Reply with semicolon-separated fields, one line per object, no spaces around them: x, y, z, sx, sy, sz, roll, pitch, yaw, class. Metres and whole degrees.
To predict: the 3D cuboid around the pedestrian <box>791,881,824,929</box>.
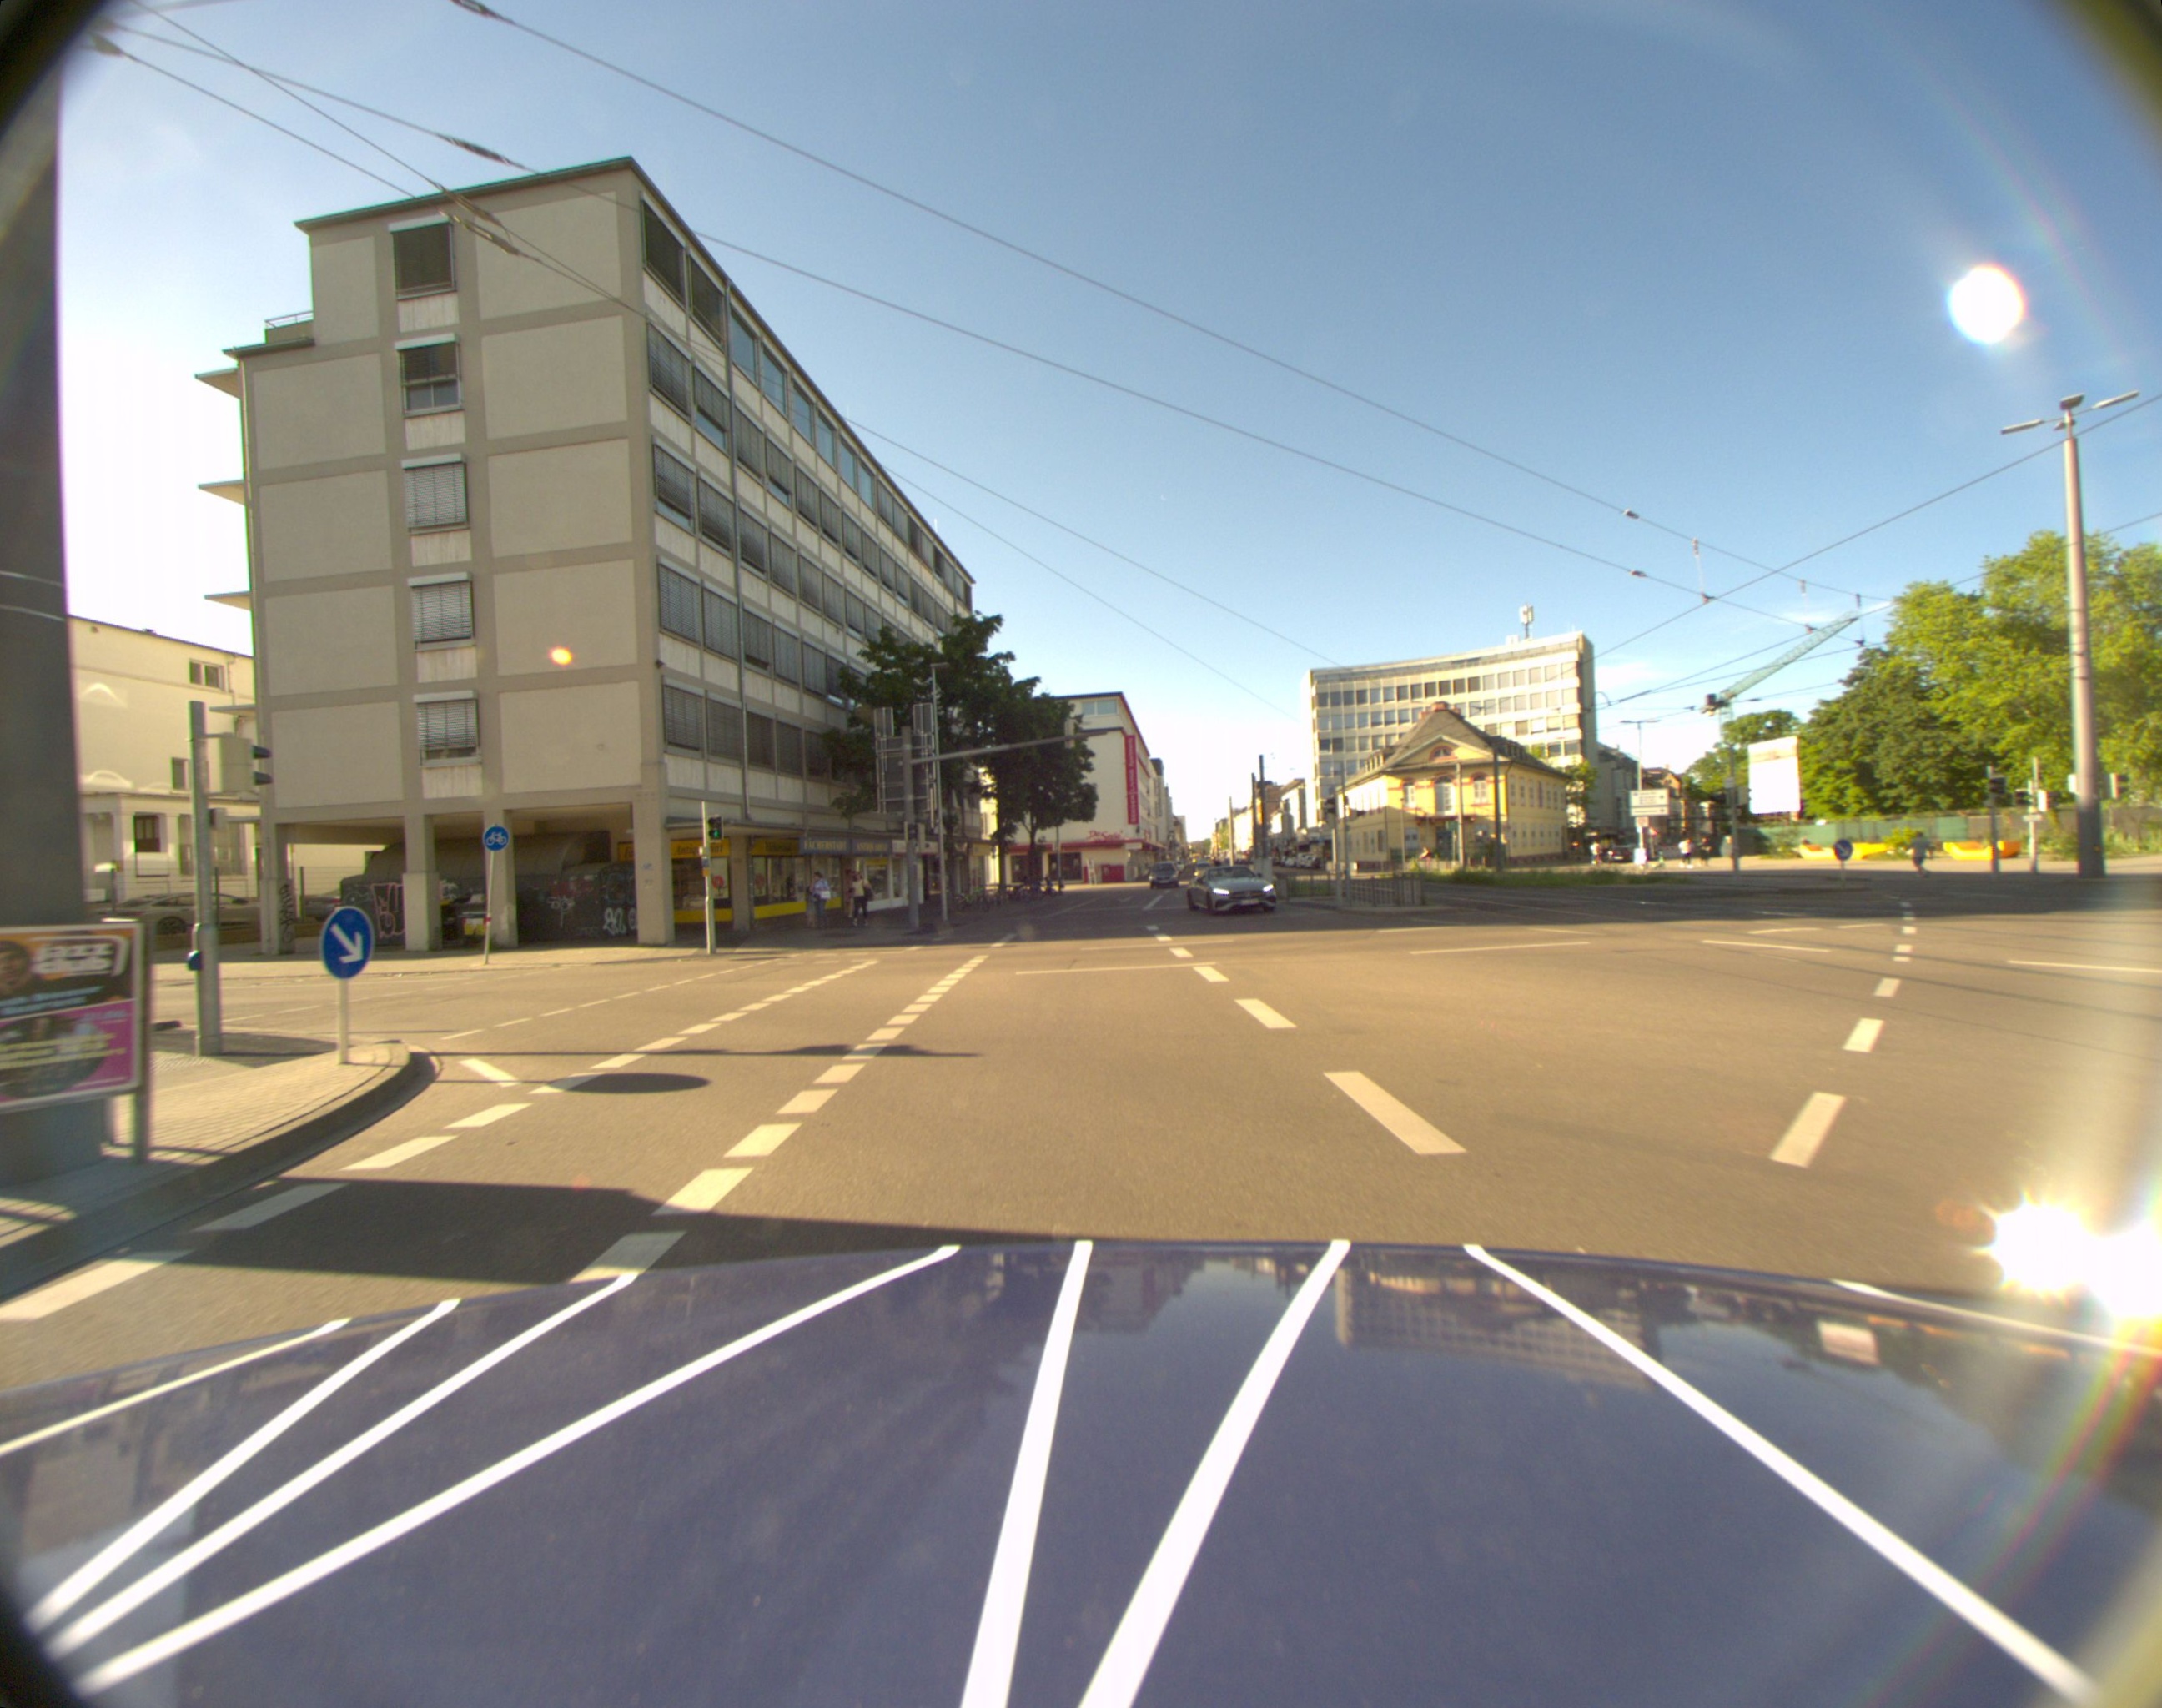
-8.467;1.587;23.556;0.646;1.414;0.621;-3;0;12;pedestrian

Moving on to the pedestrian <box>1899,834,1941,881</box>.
31.147;0.128;28.209;0.626;1.678;0.706;-3;-2;-2;pedestrian

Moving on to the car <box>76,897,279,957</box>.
-30.139;2.386;25.574;1.800;1.549;4.027;-3;0;5;car

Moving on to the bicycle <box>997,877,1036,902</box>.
-3.124;1.733;37.016;1.813;1.145;0.435;-2;1;7;bicycle

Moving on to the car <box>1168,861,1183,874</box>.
12.911;1.872;104.031;1.782;1.653;4.166;-1;0;9;car

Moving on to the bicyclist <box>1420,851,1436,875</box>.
23.453;0.603;51.401;0.591;1.640;0.804;-4;2;-44;bicyclist

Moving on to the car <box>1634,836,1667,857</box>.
51.871;-0.680;69.153;3.763;1.660;1.798;-3;0;-44;car

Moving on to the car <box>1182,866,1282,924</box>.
4.441;1.145;23.148;1.869;1.430;4.773;-3;0;-2;car

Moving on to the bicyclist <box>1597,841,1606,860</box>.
47.397;-0.336;69.197;0.521;1.663;0.772;-3;1;42;bicyclist

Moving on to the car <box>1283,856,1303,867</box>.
31.054;1.065;111.479;1.930;1.443;4.295;-4;0;5;car

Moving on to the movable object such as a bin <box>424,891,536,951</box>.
-16.550;1.828;20.980;1.913;1.461;1.453;-2;1;11;movable object such as a bin

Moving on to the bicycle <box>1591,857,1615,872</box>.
36.360;0.708;52.969;0.651;1.007;1.887;-3;0;12;bicycle

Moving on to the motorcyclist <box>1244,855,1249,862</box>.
34.960;0.901;160.479;0.654;1.549;0.884;-3;0;0;motorcyclist

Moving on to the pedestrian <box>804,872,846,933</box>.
-7.613;1.419;22.643;0.879;1.711;0.845;-3;0;0;pedestrian

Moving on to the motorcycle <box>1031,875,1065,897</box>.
-1.863;1.790;42.999;1.790;1.123;0.504;-3;0;11;motorcycle

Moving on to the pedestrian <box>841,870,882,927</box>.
-6.952;1.402;24.079;0.844;1.697;0.880;-3;0;10;pedestrian

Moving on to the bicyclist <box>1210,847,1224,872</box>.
8.606;0.351;48.141;0.683;1.514;0.635;-3;0;0;bicyclist

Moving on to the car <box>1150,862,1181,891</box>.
5.385;1.380;48.091;1.736;1.653;3.964;-1;0;9;car

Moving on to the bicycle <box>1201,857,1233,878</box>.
8.625;0.867;48.148;1.824;1.205;0.642;-3;0;0;bicycle

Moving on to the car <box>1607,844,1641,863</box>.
43.983;-0.047;61.492;1.646;1.339;3.766;-3;0;45;car

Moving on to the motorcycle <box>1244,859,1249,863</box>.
35.011;1.514;160.473;0.601;0.921;2.156;-3;0;0;motorcycle

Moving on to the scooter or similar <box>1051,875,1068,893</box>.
-1.308;1.804;45.428;0.965;1.037;0.160;-2;0;13;scooter or similar

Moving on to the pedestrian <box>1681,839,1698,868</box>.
38.116;-0.047;47.590;0.594;1.806;0.706;-3;0;21;pedestrian

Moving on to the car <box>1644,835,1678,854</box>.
55.478;-0.893;72.641;3.763;1.660;1.798;-3;0;-41;car

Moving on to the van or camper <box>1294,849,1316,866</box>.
29.020;0.431;98.397;1.958;1.961;4.800;-4;0;8;van or camper

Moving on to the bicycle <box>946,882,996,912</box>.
-4.361;1.711;30.098;1.893;1.150;0.481;-1;1;11;bicycle

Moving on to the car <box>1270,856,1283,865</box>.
34.752;1.129;134.889;1.785;1.408;3.599;-3;0;7;car

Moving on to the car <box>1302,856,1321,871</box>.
28.123;1.090;92.900;1.780;1.611;4.179;-4;0;11;car

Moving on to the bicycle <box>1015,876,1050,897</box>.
-2.610;1.748;40.863;1.855;1.050;0.399;-1;0;0;bicycle

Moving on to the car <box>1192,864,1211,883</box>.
11.727;1.851;73.863;1.782;1.653;3.964;-1;0;9;car

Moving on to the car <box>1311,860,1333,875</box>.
27.640;1.534;87.098;1.780;1.430;3.964;-4;0;9;car

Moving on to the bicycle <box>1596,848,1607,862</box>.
47.368;0.064;69.141;0.530;1.207;1.888;-3;0;41;bicycle

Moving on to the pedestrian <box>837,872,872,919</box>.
-8.174;1.483;27.440;0.844;1.593;0.880;-3;0;8;pedestrian

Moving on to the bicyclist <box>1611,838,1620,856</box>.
51.509;-0.711;73.259;0.772;1.663;0.521;-4;1;-42;bicyclist

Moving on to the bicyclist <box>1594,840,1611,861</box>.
36.333;-0.262;52.972;0.665;1.445;0.731;-3;0;10;bicyclist

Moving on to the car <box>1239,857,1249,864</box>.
35.743;1.447;166.469;1.780;1.500;4.672;-2;0;7;car

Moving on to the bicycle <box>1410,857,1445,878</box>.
23.446;0.922;51.428;0.576;1.283;2.021;-4;0;-44;bicycle

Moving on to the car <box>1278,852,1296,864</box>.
31.469;0.583;116.389;1.929;1.632;4.284;-4;0;7;car

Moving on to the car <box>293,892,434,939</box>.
-29.742;2.511;31.679;1.785;1.551;4.026;-3;0;5;car

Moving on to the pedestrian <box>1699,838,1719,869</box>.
39.056;-0.039;47.267;0.705;1.840;0.741;-3;0;21;pedestrian

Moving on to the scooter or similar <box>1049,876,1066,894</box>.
-1.389;1.819;45.037;0.965;1.021;0.160;-2;0;13;scooter or similar

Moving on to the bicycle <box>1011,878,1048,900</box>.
-2.642;1.805;39.003;1.769;1.051;0.458;-3;0;16;bicycle
